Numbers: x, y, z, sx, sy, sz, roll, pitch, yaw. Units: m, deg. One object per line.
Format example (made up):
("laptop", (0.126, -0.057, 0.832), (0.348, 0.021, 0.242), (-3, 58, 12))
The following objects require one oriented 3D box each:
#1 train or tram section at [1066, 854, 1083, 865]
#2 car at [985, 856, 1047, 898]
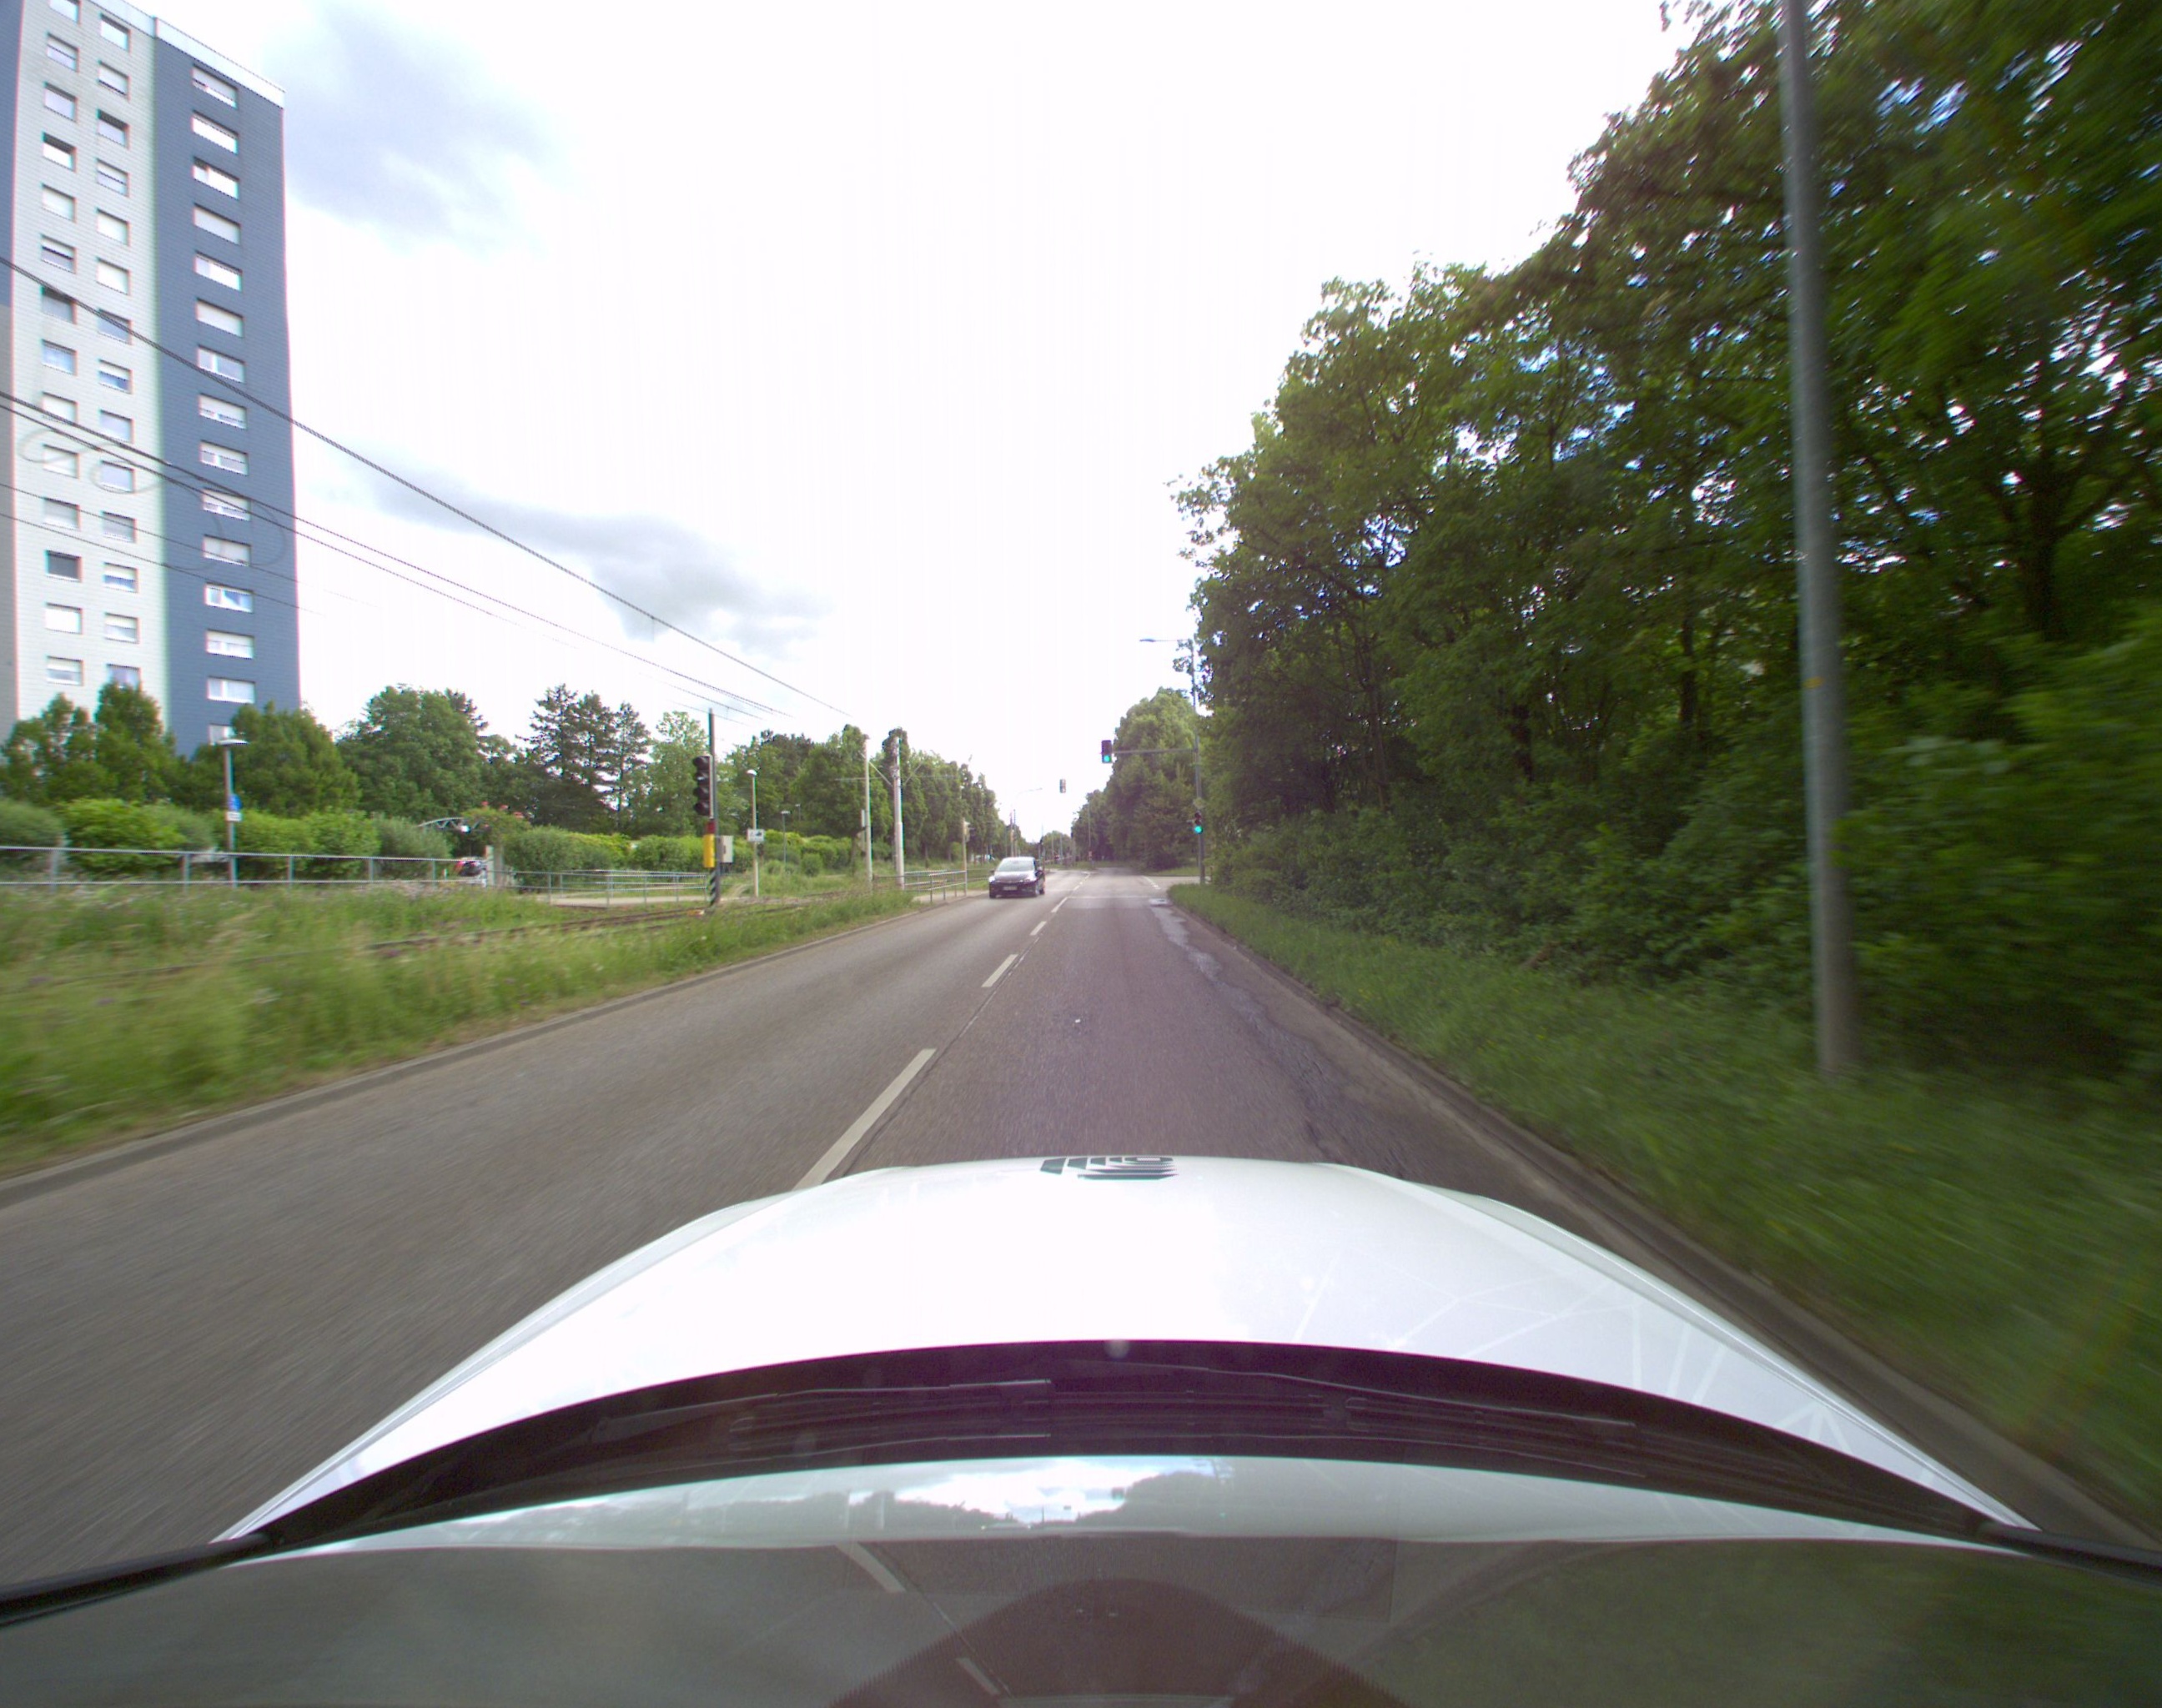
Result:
("train or tram section", (-2.251, 1.919, 266.422), (3.002, 3.311, 34.652), (-1, -1, -4))
("car", (-2.411, 0.827, 31.172), (1.843, 1.470, 4.258), (-1, 0, 2))
